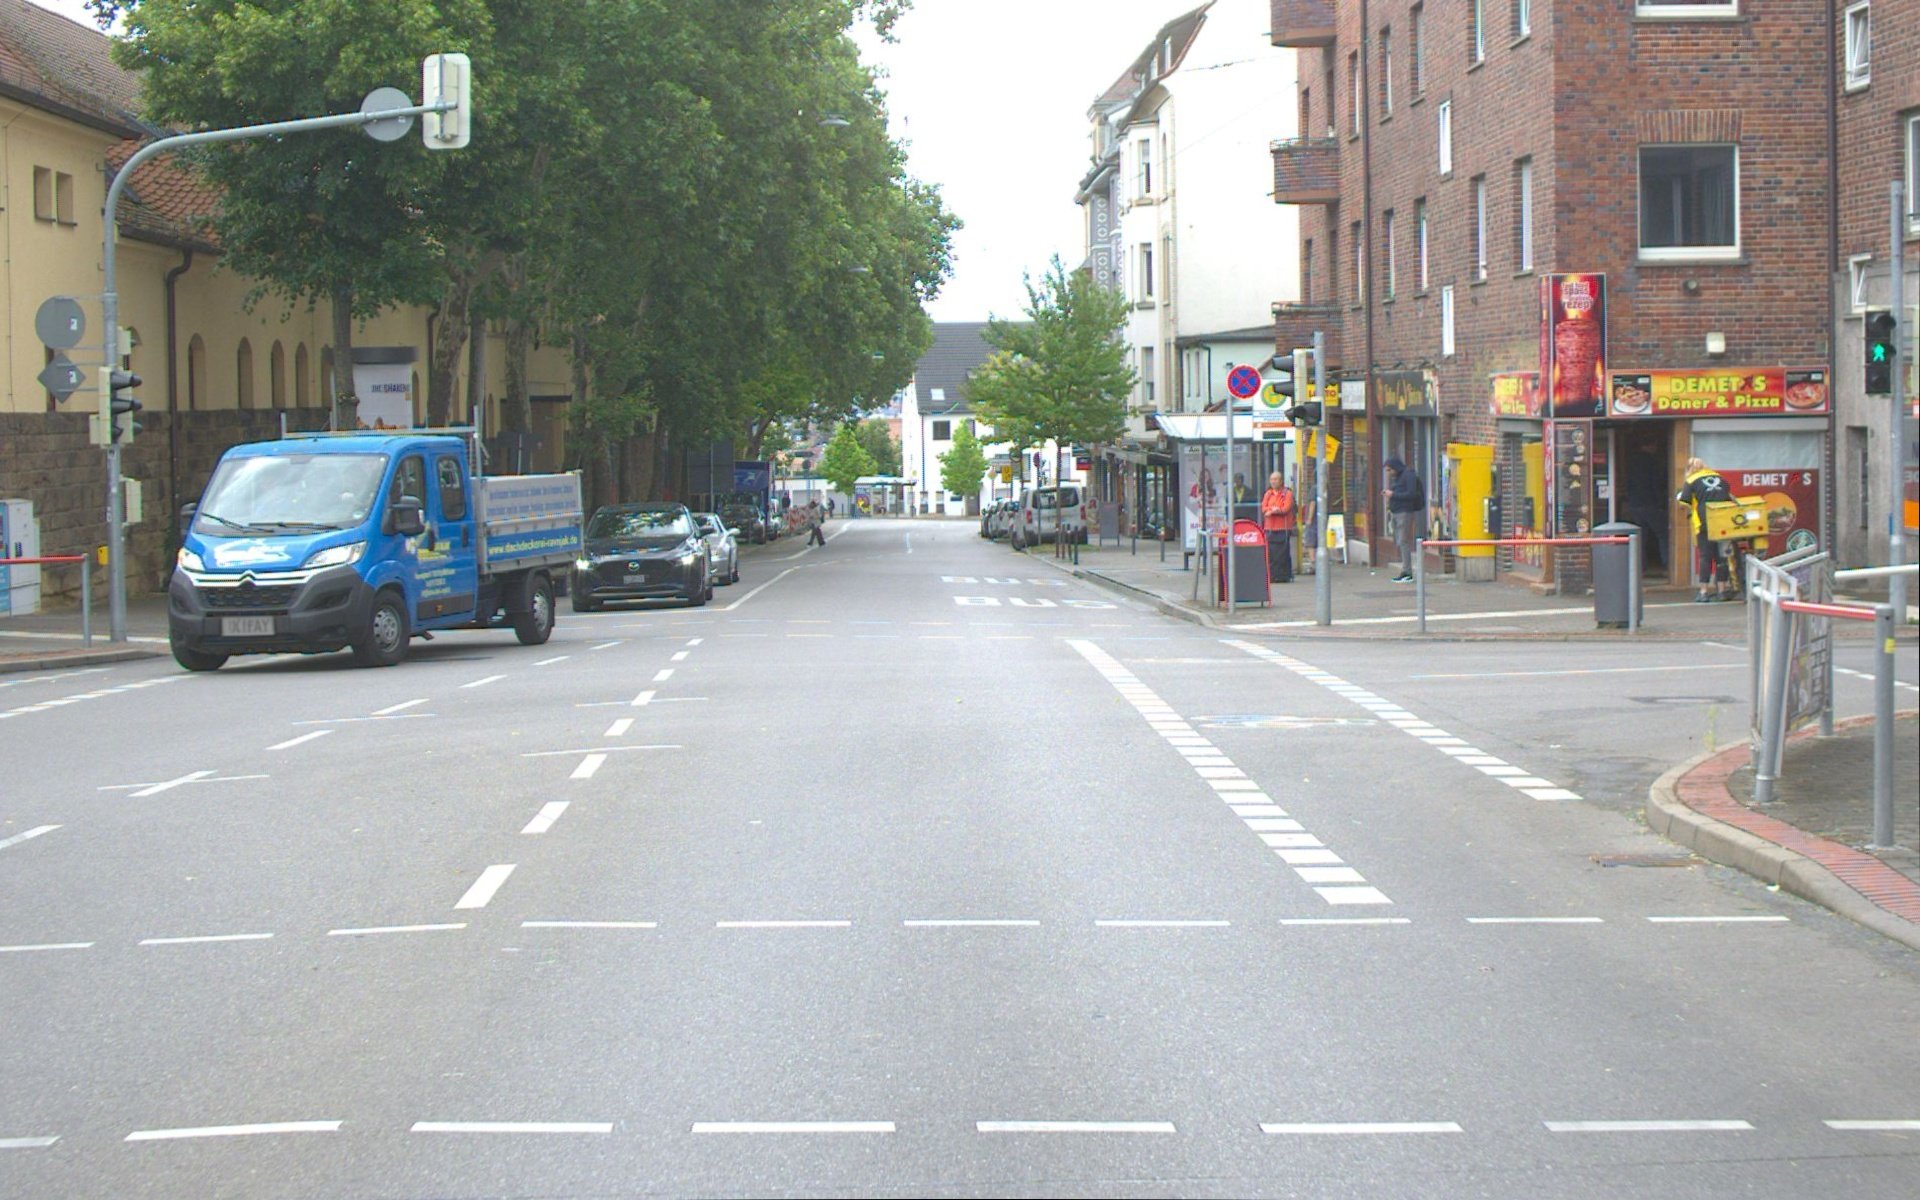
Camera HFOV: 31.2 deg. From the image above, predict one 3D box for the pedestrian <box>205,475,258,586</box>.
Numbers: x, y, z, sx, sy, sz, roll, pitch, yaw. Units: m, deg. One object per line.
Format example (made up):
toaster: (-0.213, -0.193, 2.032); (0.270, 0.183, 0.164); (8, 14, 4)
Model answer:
pedestrian: (-11.607, -1.111, 54.763); (0.674, 1.759, 0.725); (-1, 1, -1)

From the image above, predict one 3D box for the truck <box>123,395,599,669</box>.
truck: (-5.762, -0.725, 34.202); (2.296, 2.419, 6.408); (-1, 2, 13)

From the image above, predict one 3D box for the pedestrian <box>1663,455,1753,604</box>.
pedestrian: (8.534, -0.810, 39.258); (0.788, 1.650, 0.772); (-3, 2, 0)

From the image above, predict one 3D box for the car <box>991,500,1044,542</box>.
car: (2.145, -2.957, 128.142); (1.668, 1.542, 3.757); (0, 2, -4)

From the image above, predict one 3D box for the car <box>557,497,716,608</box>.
car: (-4.440, -0.691, 47.657); (1.703, 1.409, 4.192); (-2, 2, 1)

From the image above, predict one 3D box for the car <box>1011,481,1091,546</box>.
car: (2.734, -2.662, 104.829); (1.993, 1.929, 4.920); (0, 2, -4)

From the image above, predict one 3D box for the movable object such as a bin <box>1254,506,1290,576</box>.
movable object such as a bin: (4.722, -0.896, 51.954); (0.453, 1.053, 0.410); (0, 1, 19)

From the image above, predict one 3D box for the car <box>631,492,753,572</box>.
car: (-4.645, -1.189, 60.018); (1.685, 1.271, 4.095); (-3, 1, 1)

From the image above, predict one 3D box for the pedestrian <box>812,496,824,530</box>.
pedestrian: (-8.402, -5.148, 203.848); (0.633, 2.006, 0.784); (0, 2, 1)

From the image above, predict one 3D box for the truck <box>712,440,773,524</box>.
truck: (-8.876, -4.814, 140.697); (2.230, 3.335, 7.451); (0, 2, -2)

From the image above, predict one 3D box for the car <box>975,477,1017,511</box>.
car: (1.653, -4.889, 158.238); (1.668, 1.542, 3.757); (0, 2, -4)

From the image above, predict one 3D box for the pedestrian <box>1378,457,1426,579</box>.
pedestrian: (6.355, -1.182, 49.486); (0.647, 1.744, 0.778); (0, 2, 4)

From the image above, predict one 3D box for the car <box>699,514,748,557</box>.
car: (-9.032, -2.486, 131.416); (1.834, 1.572, 3.757); (0, 2, -4)

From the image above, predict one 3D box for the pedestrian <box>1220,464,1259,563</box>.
pedestrian: (4.860, -1.509, 59.870); (0.670, 1.721, 0.763); (0, 2, 5)

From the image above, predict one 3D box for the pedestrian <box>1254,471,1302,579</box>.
pedestrian: (4.831, -1.144, 52.183); (0.565, 1.631, 0.680); (0, 2, 19)

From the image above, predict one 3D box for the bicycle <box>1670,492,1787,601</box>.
bicycle: (8.664, -0.621, 38.860); (0.760, 1.189, 2.392); (0, 2, -1)

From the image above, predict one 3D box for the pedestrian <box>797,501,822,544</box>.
pedestrian: (-5.357, -2.773, 122.401); (0.672, 1.531, 0.611); (-1, 2, -28)

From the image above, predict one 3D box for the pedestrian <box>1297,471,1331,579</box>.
pedestrian: (5.790, -1.222, 56.229); (0.479, 1.759, 0.458); (-1, 1, -1)
